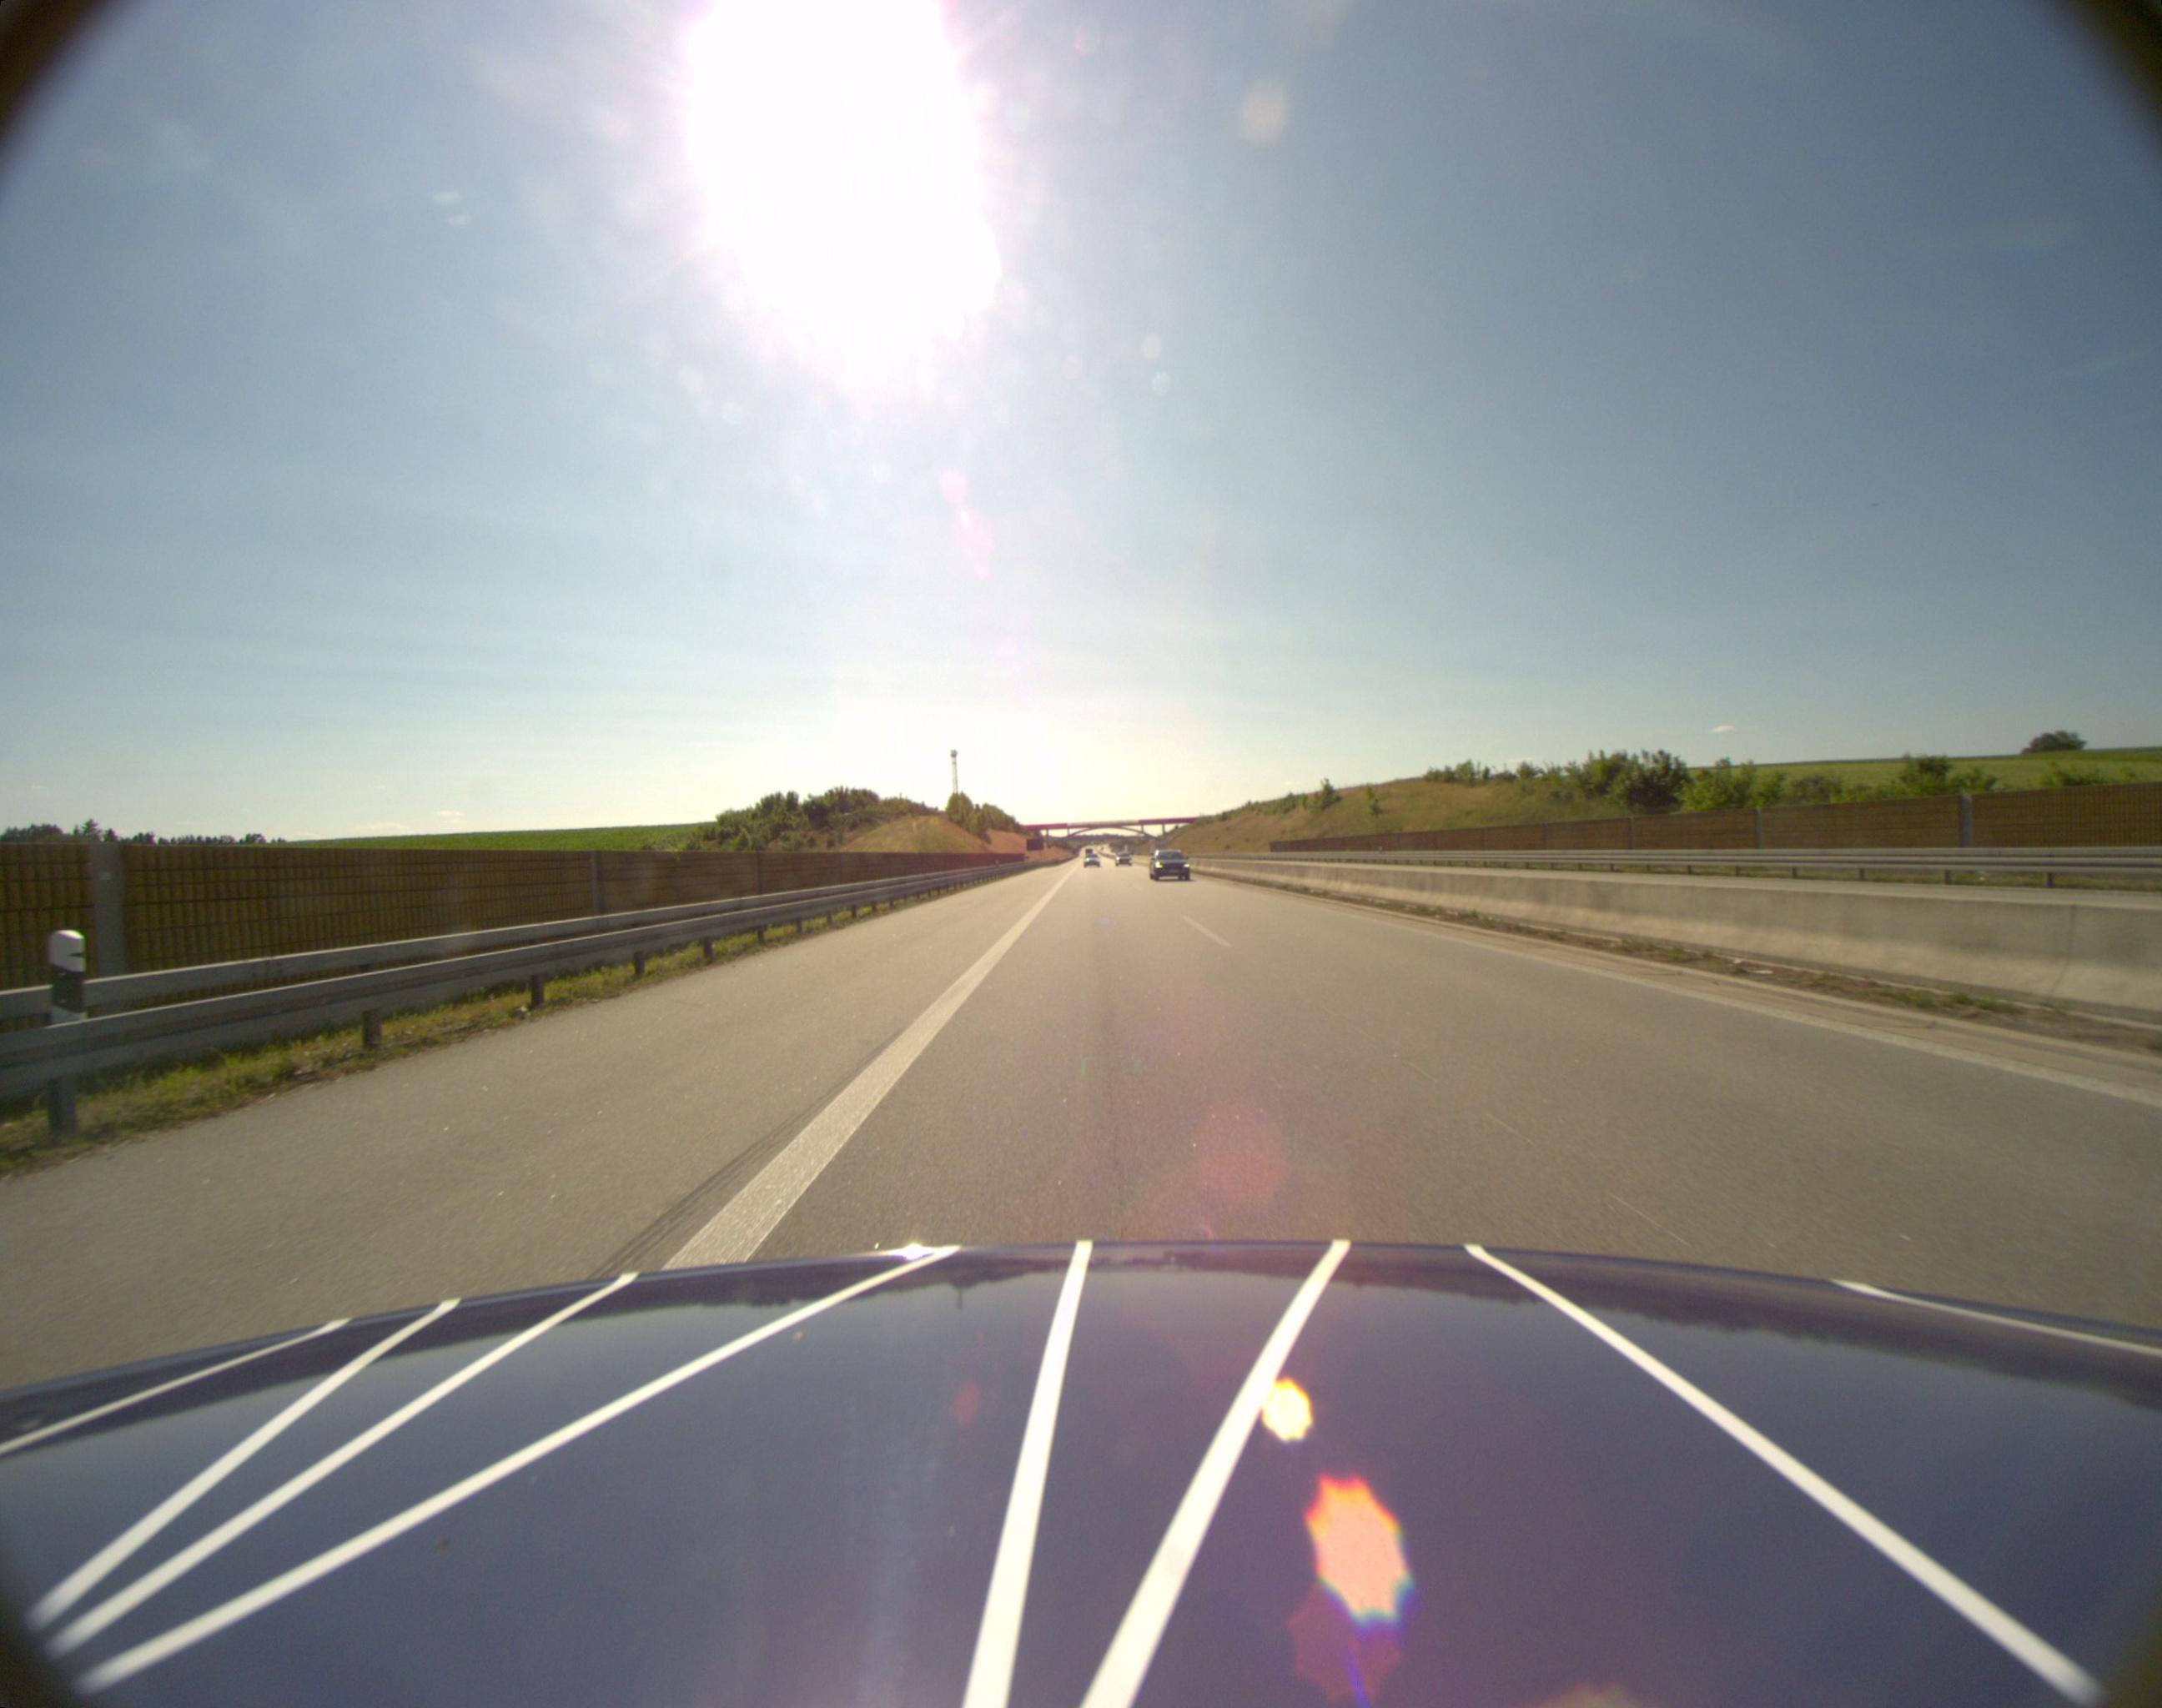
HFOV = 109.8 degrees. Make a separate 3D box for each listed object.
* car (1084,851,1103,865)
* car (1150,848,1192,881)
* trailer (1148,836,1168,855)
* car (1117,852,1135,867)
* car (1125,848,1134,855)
[{"bbox_3d":[1.389,0.394,83.202,1.909,1.449,4.375,-2,1,2],"label":"car"},{"bbox_3d":[4.779,0.531,41.081,1.726,1.578,5.221,-2,1,1],"label":"car"},{"bbox_3d":[16.508,-1.736,163.293,2.645,3.853,13.733,-2,1,0],"label":"trailer"},{"bbox_3d":[5.193,0.606,88.156,1.776,1.560,4.988,-2,1,1],"label":"car"},{"bbox_3d":[12.429,-0.636,194.915,1.801,1.584,4.658,-2,0,0],"label":"car"}]
